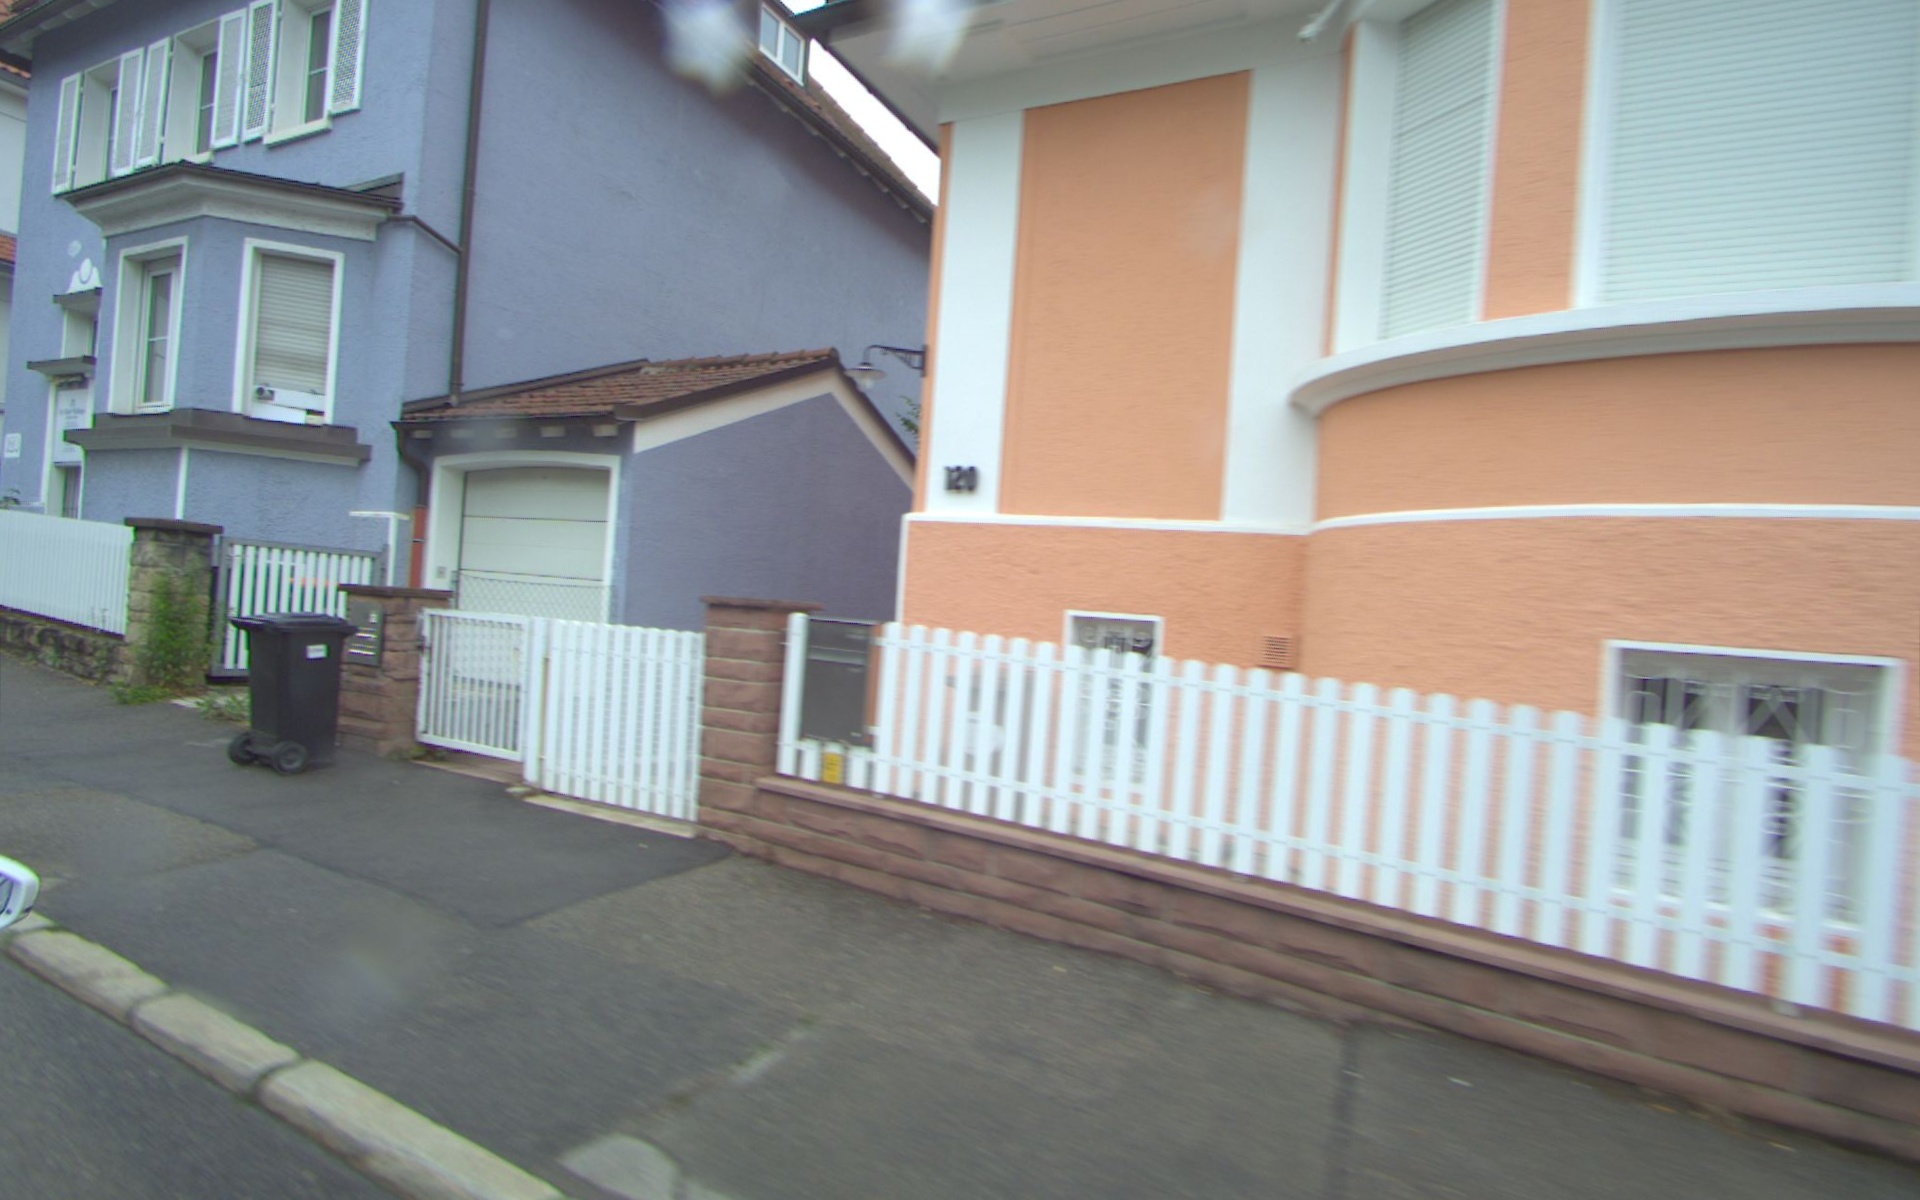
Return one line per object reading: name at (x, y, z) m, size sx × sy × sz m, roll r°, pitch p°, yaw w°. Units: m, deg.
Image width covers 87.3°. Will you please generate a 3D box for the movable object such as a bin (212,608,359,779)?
movable object such as a bin at (-4.046, 0.538, 6.048) m, size 0.479 × 0.931 × 0.532 m, roll 6°, pitch 3°, yaw 26°
